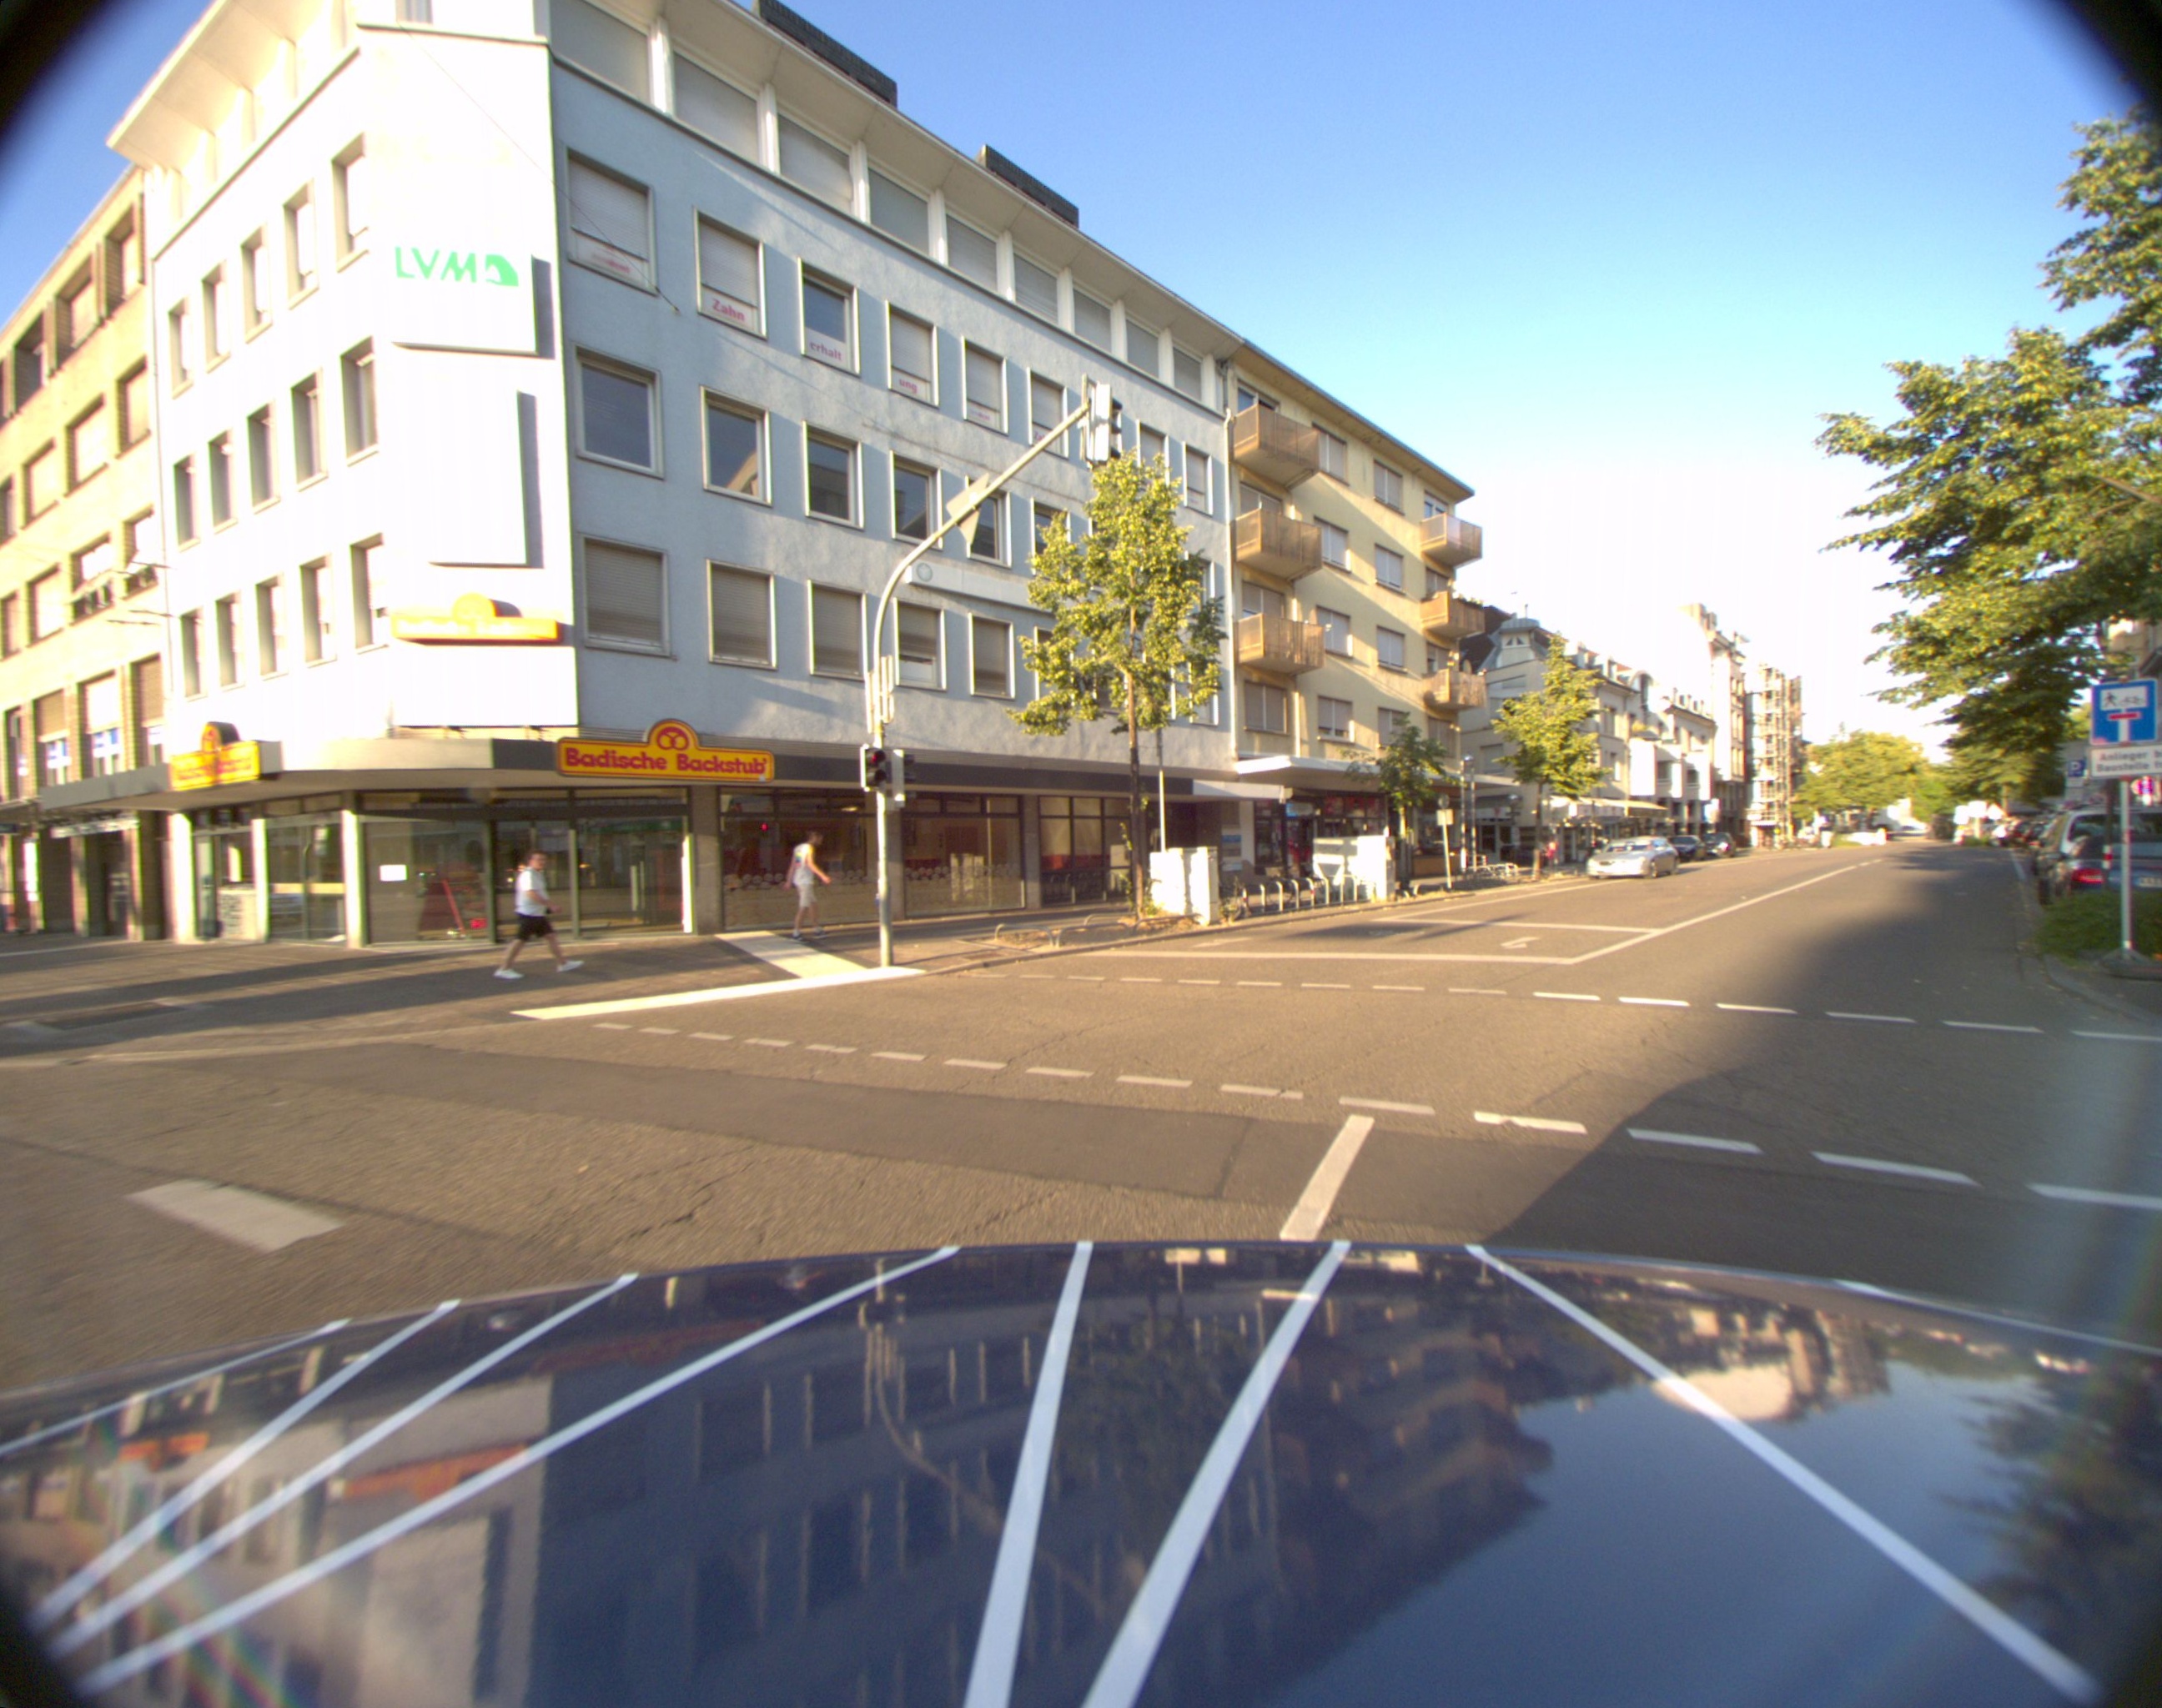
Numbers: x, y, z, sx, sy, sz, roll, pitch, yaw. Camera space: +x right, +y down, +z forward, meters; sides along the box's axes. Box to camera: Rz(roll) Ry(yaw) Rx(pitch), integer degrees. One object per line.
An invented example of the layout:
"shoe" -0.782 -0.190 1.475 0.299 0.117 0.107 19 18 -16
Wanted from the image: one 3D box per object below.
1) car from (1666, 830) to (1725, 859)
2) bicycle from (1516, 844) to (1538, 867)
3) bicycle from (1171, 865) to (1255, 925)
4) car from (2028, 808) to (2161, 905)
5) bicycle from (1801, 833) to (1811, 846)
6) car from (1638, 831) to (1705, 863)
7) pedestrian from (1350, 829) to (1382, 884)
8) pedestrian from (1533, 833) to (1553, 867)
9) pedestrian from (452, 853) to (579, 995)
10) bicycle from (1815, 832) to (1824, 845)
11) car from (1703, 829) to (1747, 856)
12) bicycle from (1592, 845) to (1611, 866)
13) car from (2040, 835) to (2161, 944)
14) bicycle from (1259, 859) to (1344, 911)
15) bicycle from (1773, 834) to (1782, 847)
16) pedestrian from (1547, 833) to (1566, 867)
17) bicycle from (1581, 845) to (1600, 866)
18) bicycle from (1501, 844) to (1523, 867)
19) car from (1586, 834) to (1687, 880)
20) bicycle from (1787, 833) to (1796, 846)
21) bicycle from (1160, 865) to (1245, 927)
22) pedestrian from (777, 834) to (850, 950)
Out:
"car" 31.985 -0.496 39.510 3.755 1.413 1.723 -2 2 -41
"bicycle" 21.583 0.062 36.725 1.848 1.044 0.391 -3 1 -43
"bicycle" 2.787 0.836 16.229 0.471 1.197 1.914 -3 1 -38
"car" 21.100 -0.011 15.494 4.156 1.777 1.915 -2 2 -43
"bicycle" 56.094 -1.152 58.789 1.922 0.952 0.468 -3 2 -45
"car" 28.228 -0.371 36.285 4.039 1.413 1.723 -2 2 -41
"pedestrian" 9.442 0.088 25.174 0.651 1.796 0.708 -2 -1 -39
"pedestrian" 21.307 -0.192 35.047 0.652 1.521 0.540 -3 1 -34
"pedestrian" -7.364 0.874 9.950 0.994 1.716 0.805 -2 3 -12
"bicycle" 56.662 -1.187 58.290 1.922 0.952 0.468 -3 2 -45
"car" 37.893 -0.691 44.699 2.808 1.541 1.568 -2 2 -41
"bicycle" 24.480 0.063 35.730 1.618 0.950 0.391 -3 1 -43
"car" 16.107 0.440 11.426 4.390 1.378 1.915 -2 2 -40
"bicycle" 5.291 0.731 18.313 1.913 1.197 0.471 -1 2 40
"bicycle" 54.717 -1.073 59.687 1.922 0.952 0.468 -3 2 -45
"pedestrian" 21.561 -0.187 34.479 0.555 1.521 0.540 -2 1 -34
"bicycle" 24.172 0.082 36.048 1.643 0.951 0.391 -3 1 -43
"bicycle" 21.143 0.071 37.239 1.848 1.027 0.391 -3 1 -43
"car" 19.464 0.085 26.528 4.560 1.369 1.802 -2 -1 -41
"bicycle" 55.457 -1.113 59.297 1.922 0.952 0.468 -3 2 -45
"bicycle" 2.500 0.841 15.798 0.471 1.197 1.914 -3 1 -38
"pedestrian" -4.510 0.610 12.892 0.994 1.876 0.805 -2 3 -12
